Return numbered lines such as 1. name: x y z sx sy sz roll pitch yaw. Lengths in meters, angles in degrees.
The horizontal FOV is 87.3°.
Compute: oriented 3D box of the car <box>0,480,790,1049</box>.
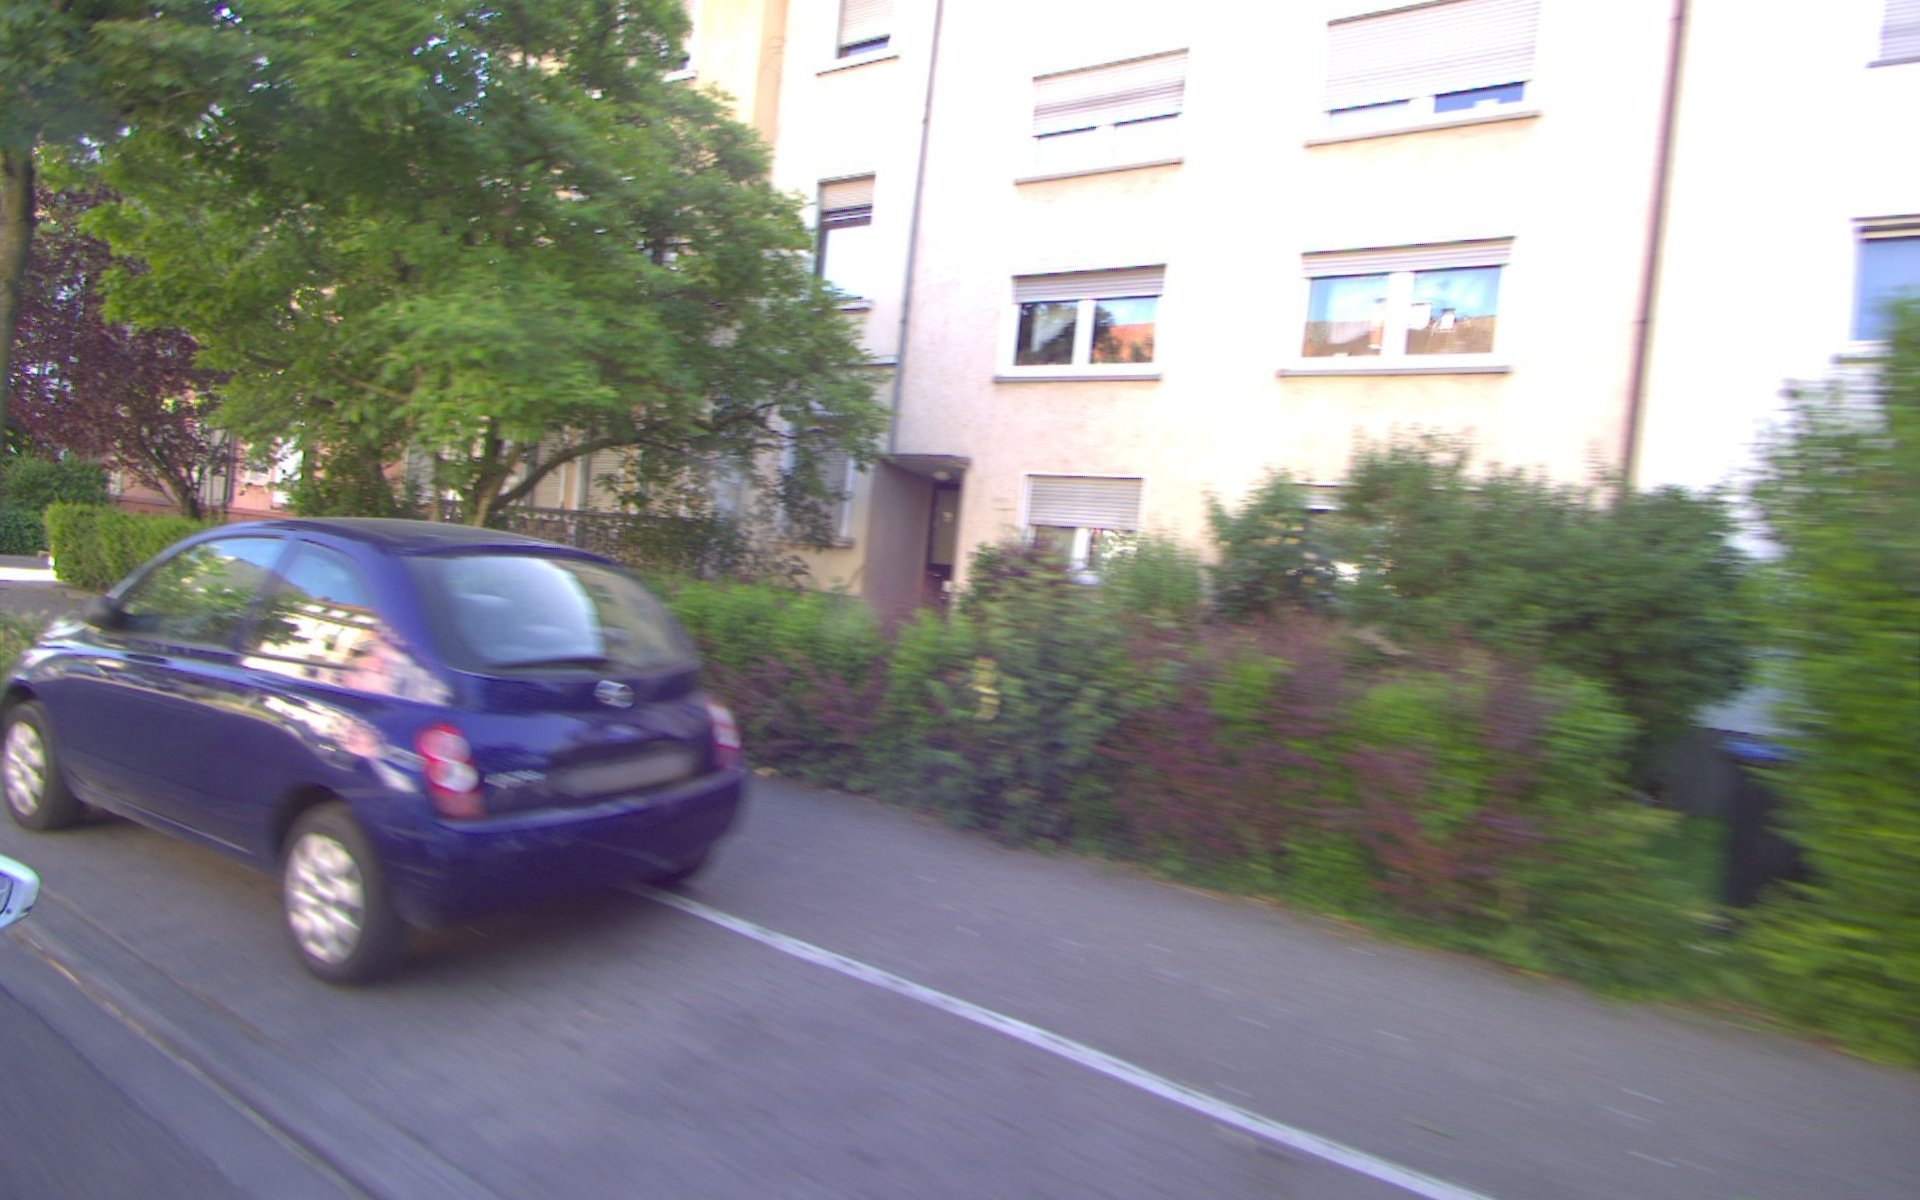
1. car: -2.719 0.393 4.488 3.592 1.535 1.560 7 3 29
